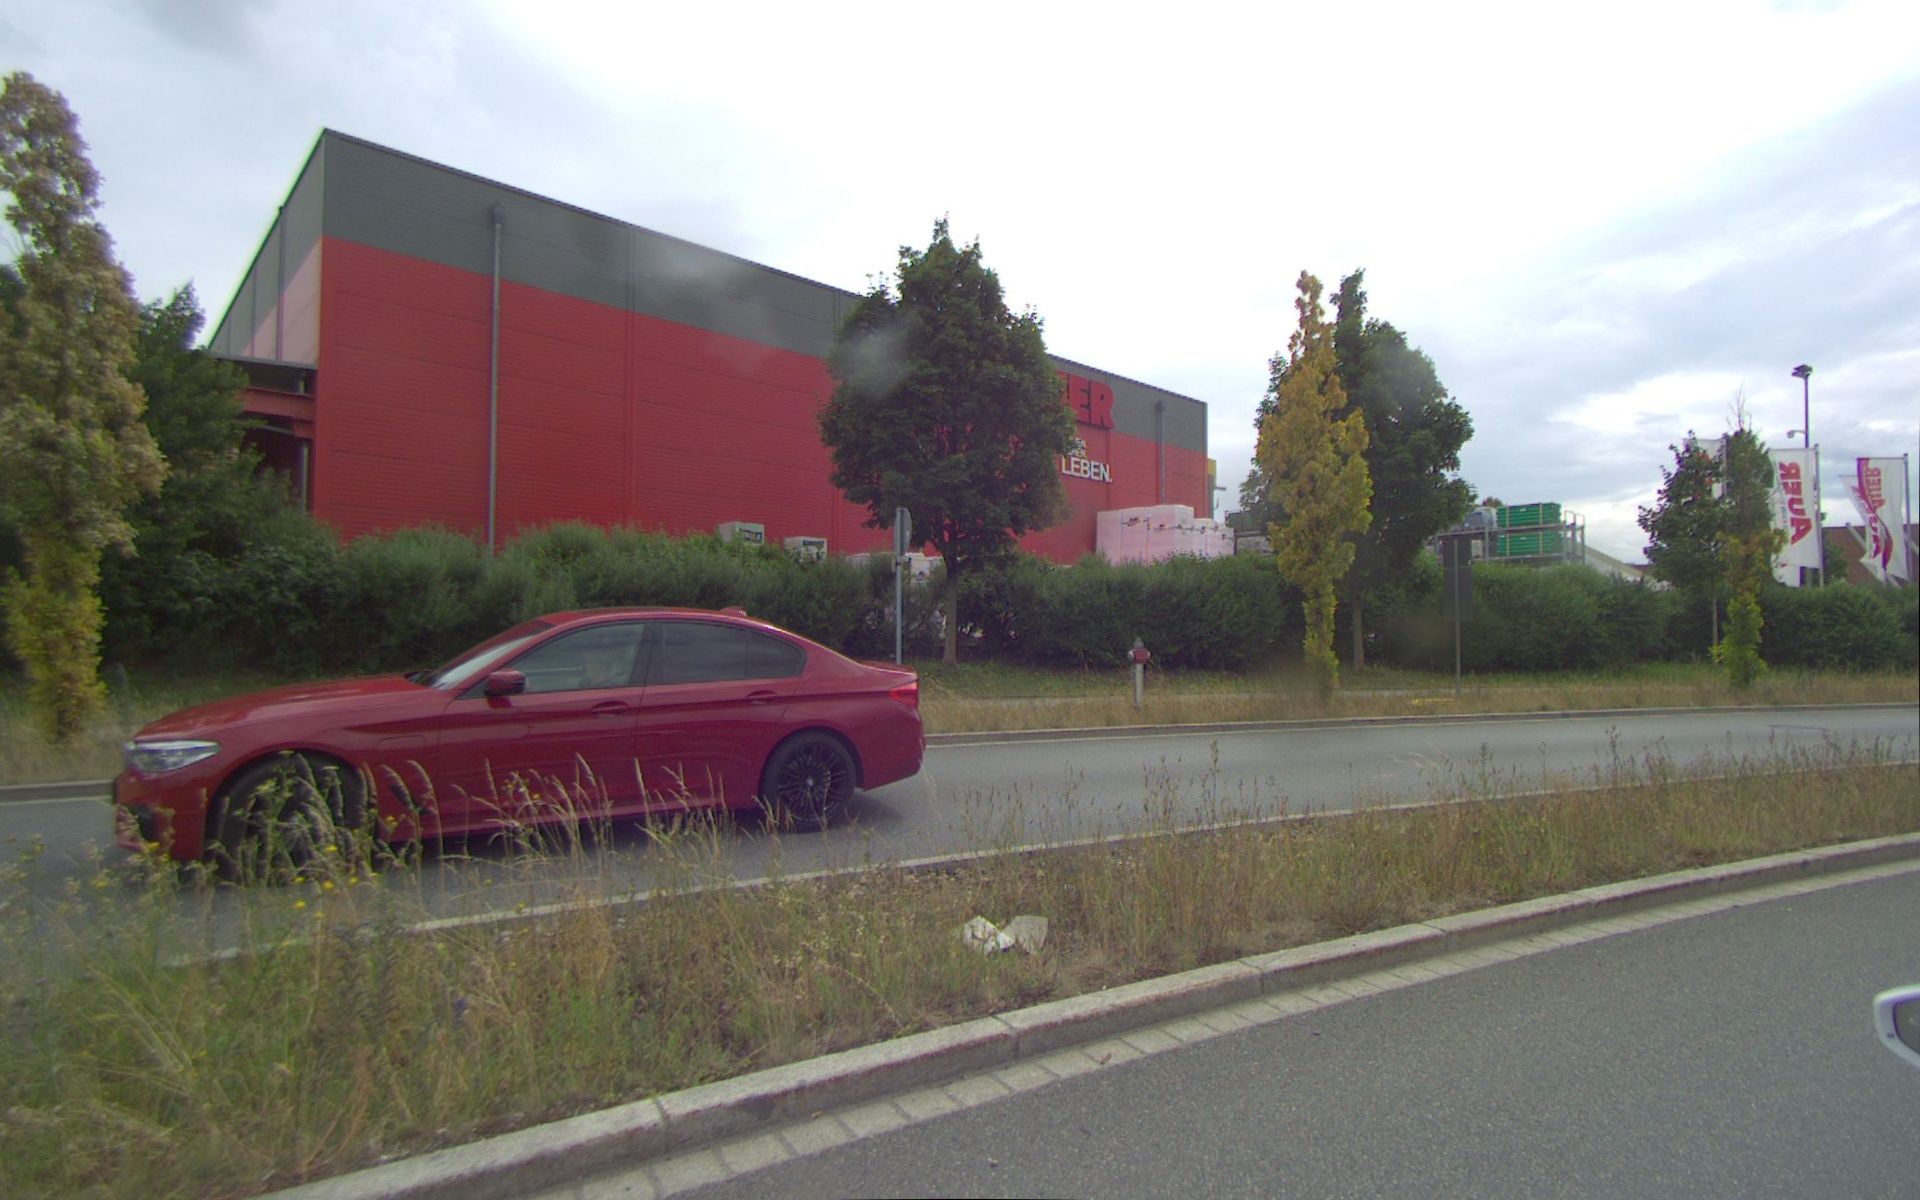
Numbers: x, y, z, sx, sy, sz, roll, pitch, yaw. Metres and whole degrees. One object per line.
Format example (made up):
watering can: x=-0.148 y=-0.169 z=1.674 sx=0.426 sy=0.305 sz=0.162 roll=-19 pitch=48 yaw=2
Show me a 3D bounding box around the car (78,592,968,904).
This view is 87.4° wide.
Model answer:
car: x=-2.521 y=0.769 z=6.825 sx=4.913 sy=1.467 sz=1.782 roll=2 pitch=1 yaw=-30
